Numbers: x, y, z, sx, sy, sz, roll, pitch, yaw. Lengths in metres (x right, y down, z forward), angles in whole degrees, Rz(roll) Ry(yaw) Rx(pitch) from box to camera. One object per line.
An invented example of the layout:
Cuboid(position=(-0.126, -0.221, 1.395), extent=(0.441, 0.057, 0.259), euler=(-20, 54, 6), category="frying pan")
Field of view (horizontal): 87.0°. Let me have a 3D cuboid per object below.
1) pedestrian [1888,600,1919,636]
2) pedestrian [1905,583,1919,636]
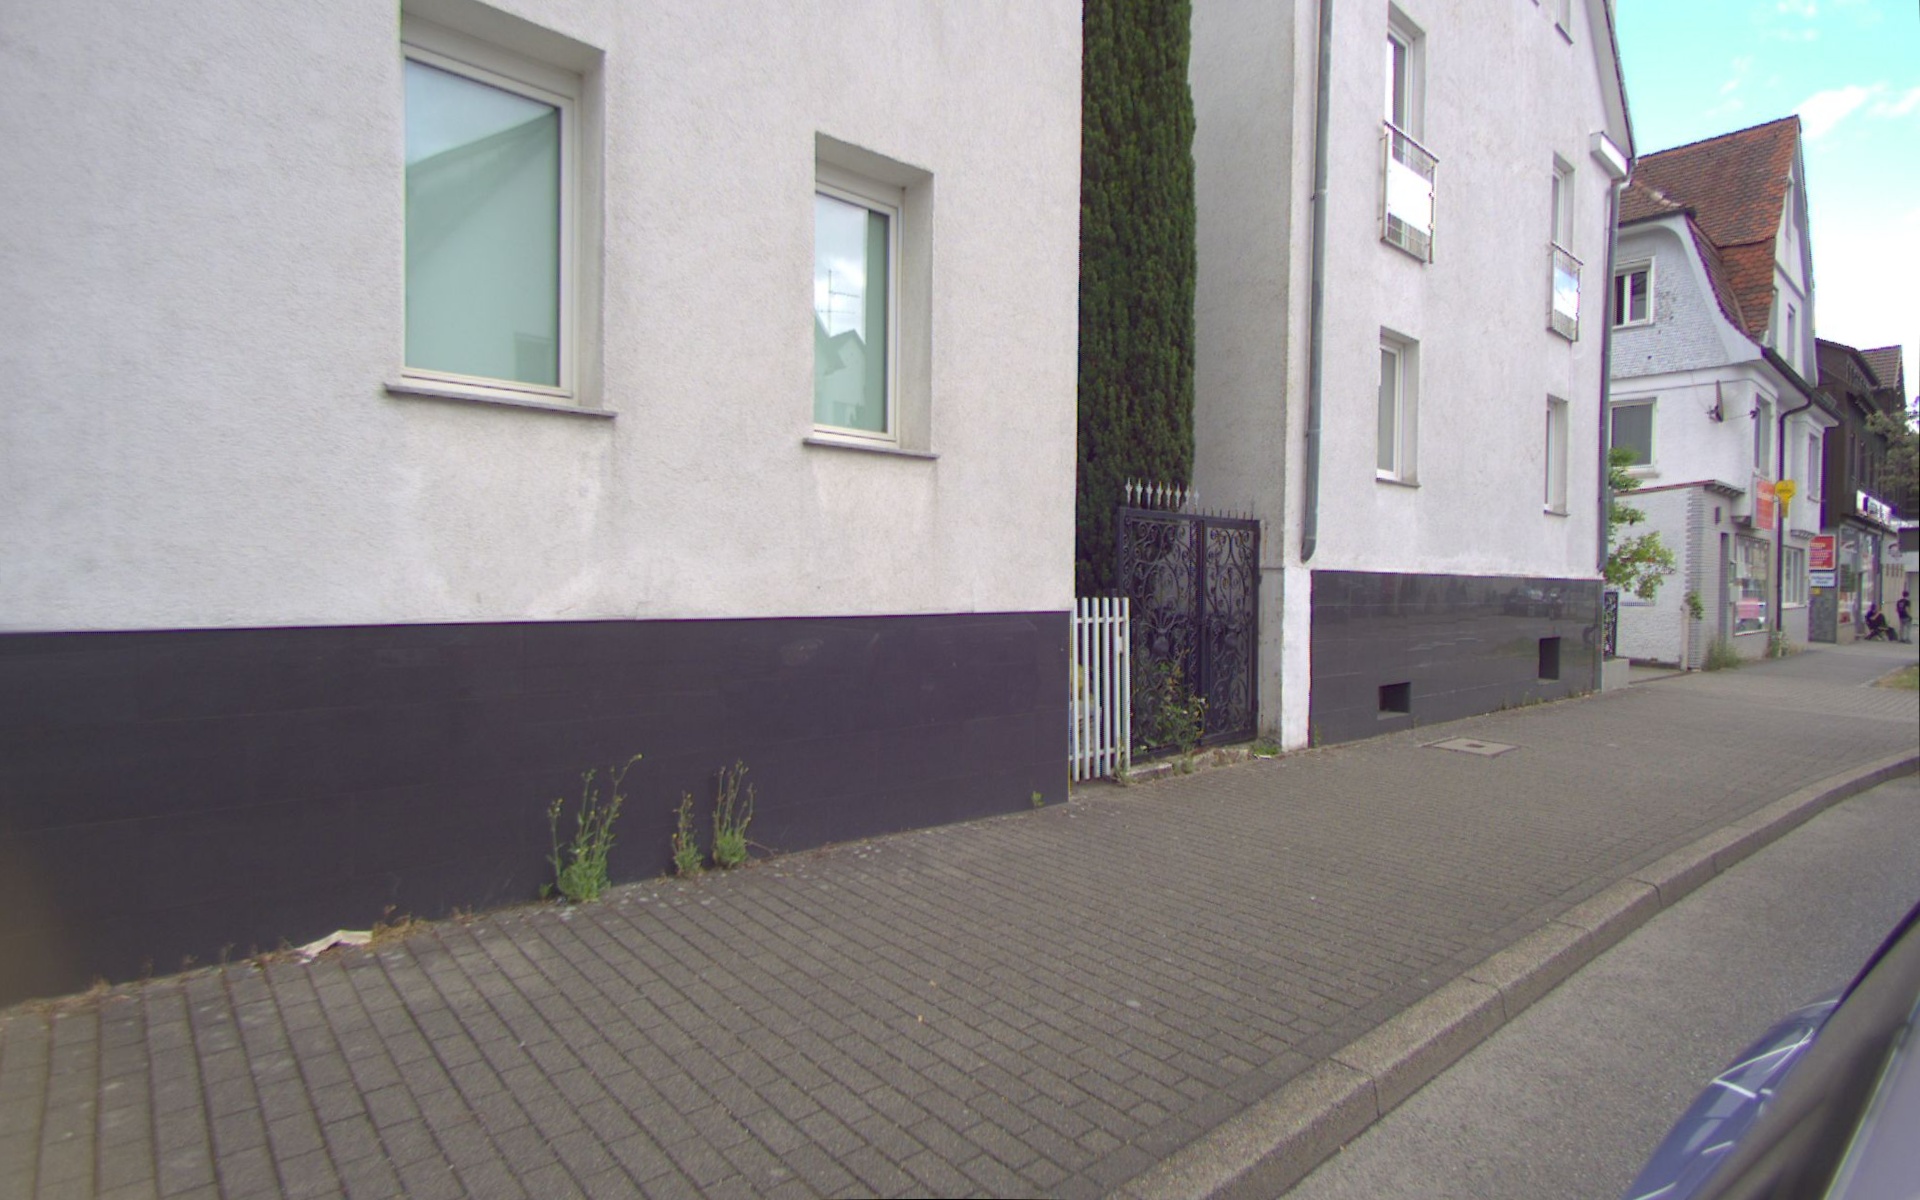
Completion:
Cuboid(position=(32.739, 0.617, 35.082), extent=(0.633, 1.226, 0.741), euler=(0, 2, -42), category="pedestrian")
Cuboid(position=(32.456, 0.329, 34.243), extent=(0.642, 1.762, 0.731), euler=(3, 2, 43), category="pedestrian")
